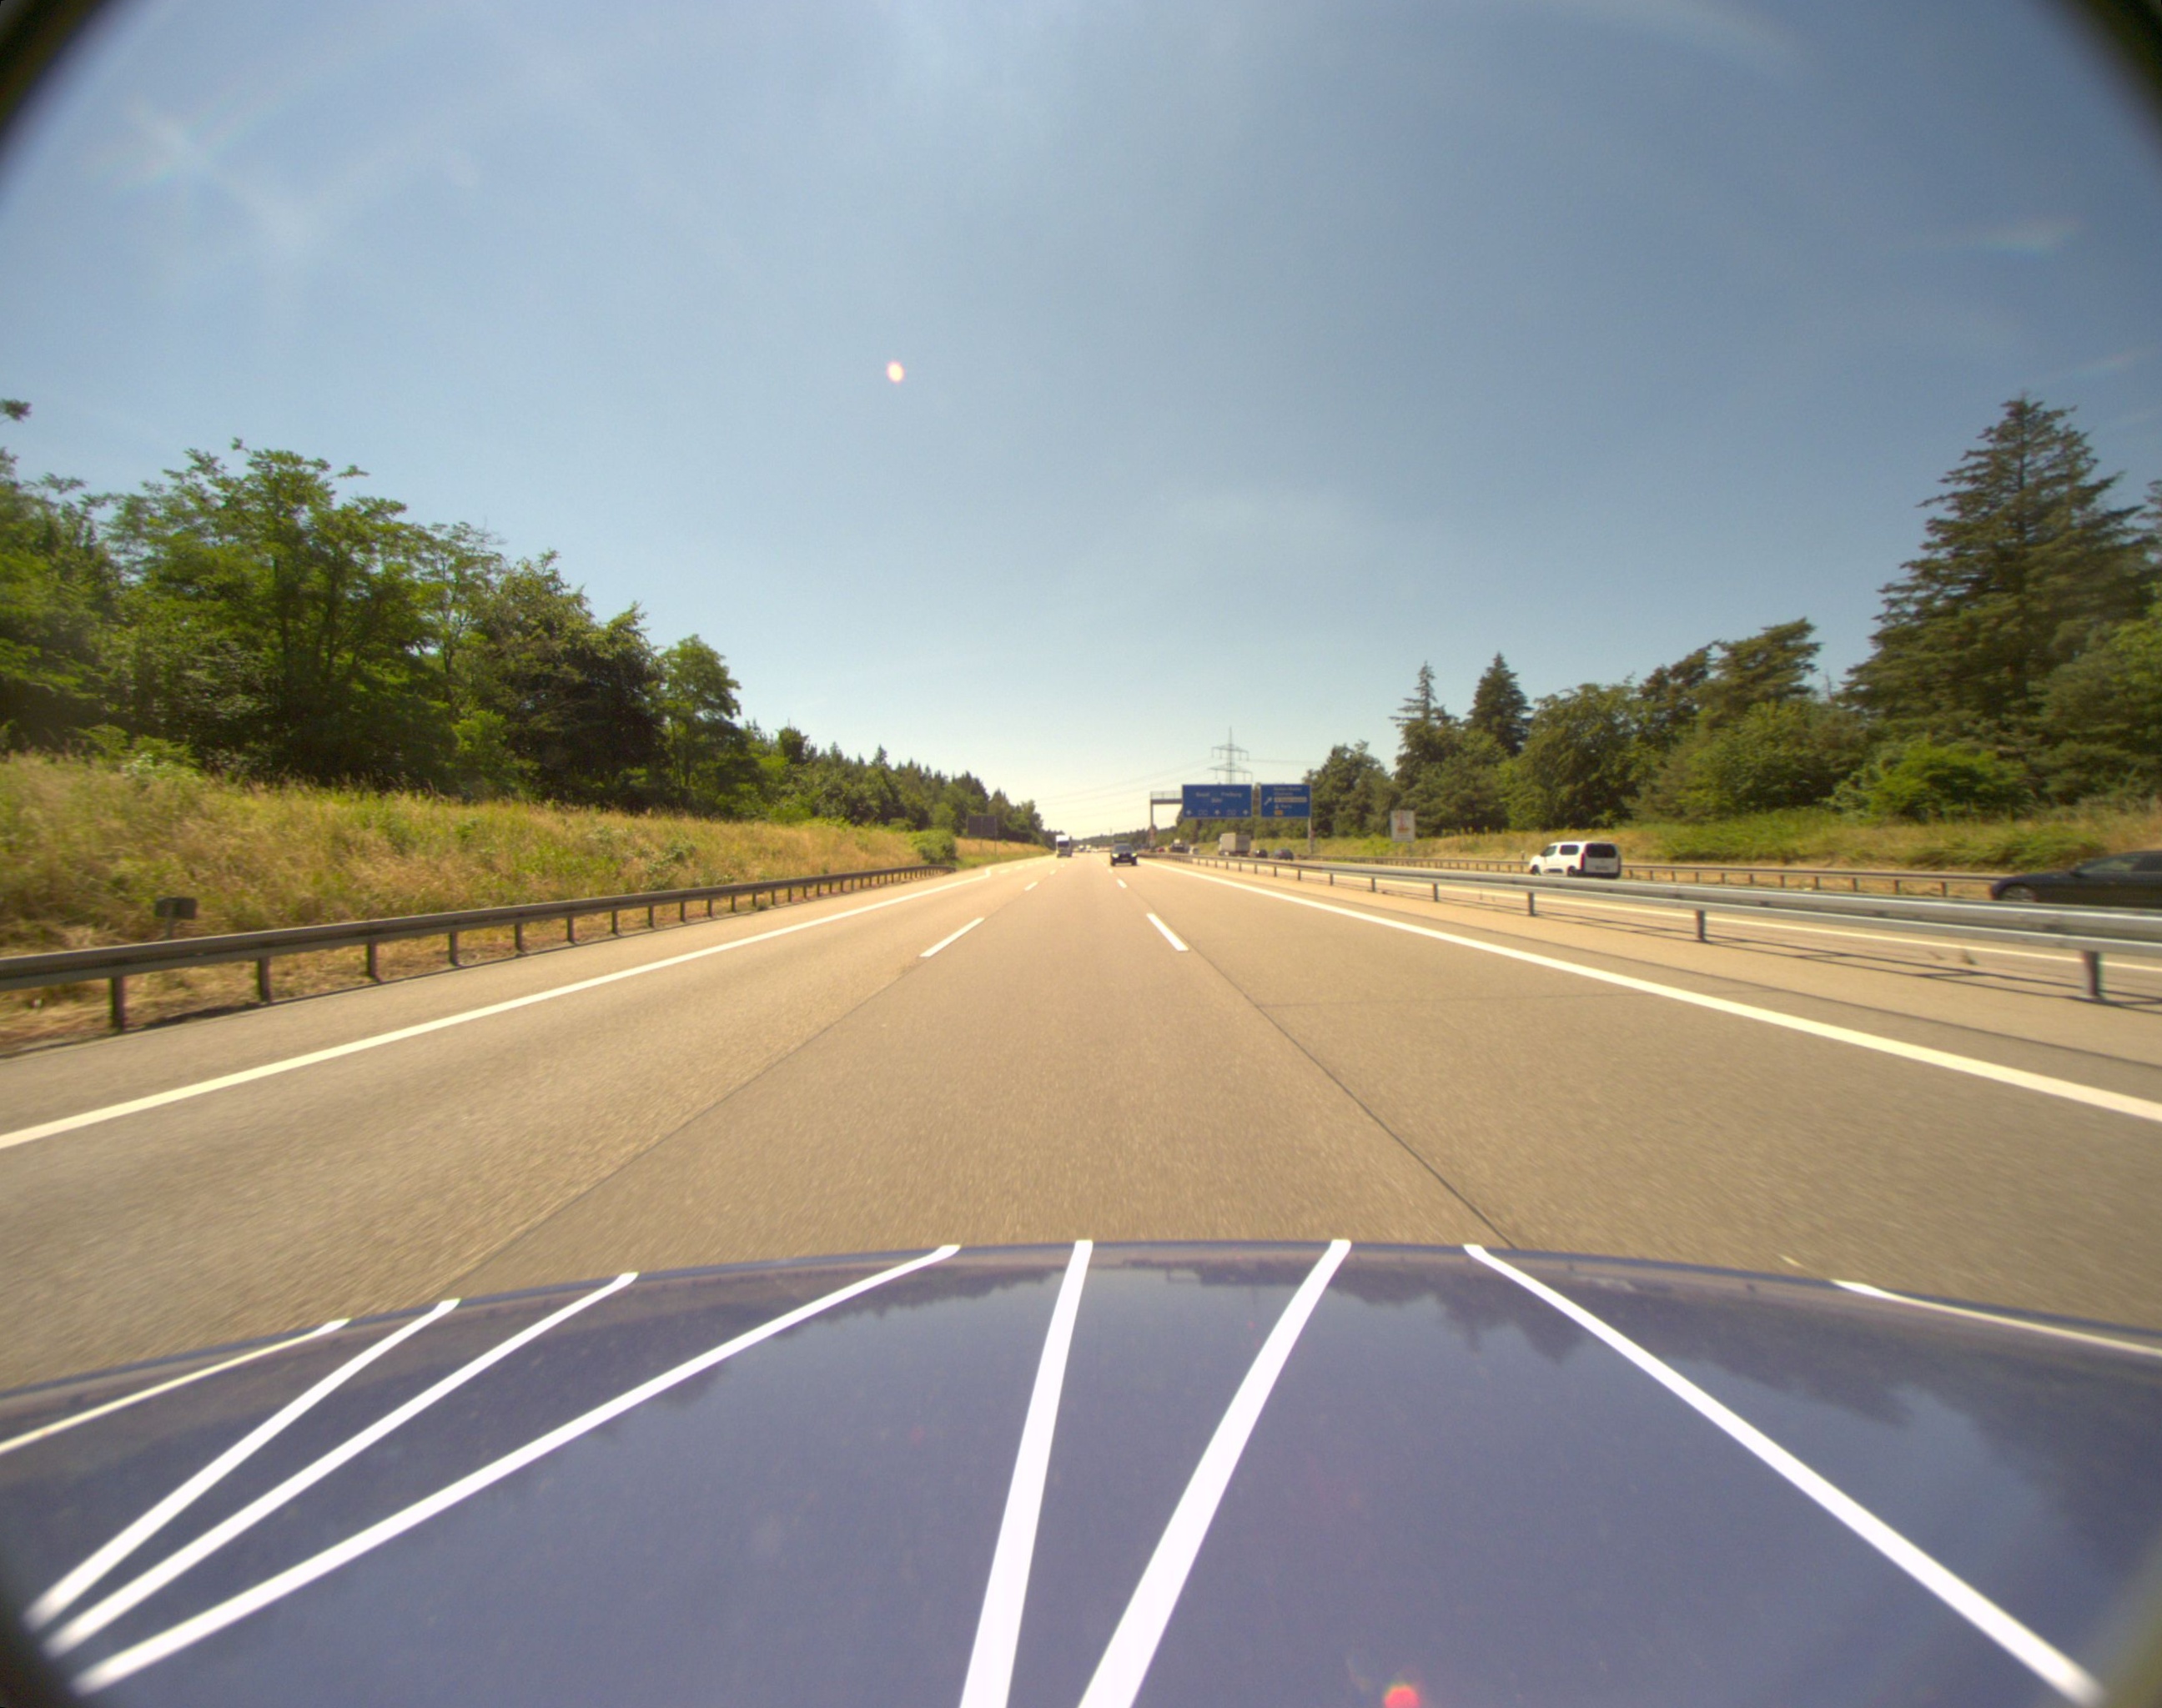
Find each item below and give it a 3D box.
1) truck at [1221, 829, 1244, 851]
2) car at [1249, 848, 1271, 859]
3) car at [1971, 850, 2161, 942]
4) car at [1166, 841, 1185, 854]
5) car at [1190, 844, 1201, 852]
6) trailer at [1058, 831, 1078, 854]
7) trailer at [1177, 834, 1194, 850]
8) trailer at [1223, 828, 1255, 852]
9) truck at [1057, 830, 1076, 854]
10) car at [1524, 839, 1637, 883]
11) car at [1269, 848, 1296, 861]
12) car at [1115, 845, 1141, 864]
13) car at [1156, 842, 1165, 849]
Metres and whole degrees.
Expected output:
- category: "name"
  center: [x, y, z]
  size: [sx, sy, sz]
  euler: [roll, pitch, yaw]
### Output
- category: "truck"
  center: [27.578, -2.506, 138.571]
  size: [3.175, 3.908, 5.400]
  euler: [-2, 1, 3]
- category: "car"
  center: [25.804, -0.138, 109.664]
  size: [2.091, 1.455, 4.941]
  euler: [0, 1, 1]
- category: "car"
  center: [21.131, 0.801, 14.676]
  size: [1.998, 1.694, 4.978]
  euler: [1, 1, 1]
- category: "car"
  center: [14.162, -1.021, 114.002]
  size: [2.285, 1.929, 4.942]
  euler: [0, 1, 1]
- category: "car"
  center: [26.766, -1.461, 177.653]
  size: [1.998, 1.739, 4.990]
  euler: [-2, 1, 0]
- category: "trailer"
  center: [-2.342, -2.137, 143.122]
  size: [2.982, 4.118, 11.697]
  euler: [-1, 0, 2]
- category: "trailer"
  center: [28.184, -3.213, 205.713]
  size: [3.222, 4.019, 14.360]
  euler: [-2, 1, 2]
- category: "trailer"
  center: [27.276, -2.353, 131.802]
  size: [3.175, 3.908, 13.963]
  euler: [-2, 1, 3]
- category: "truck"
  center: [-2.580, -2.093, 137.579]
  size: [2.979, 4.118, 5.349]
  euler: [-1, 0, 3]
- category: "car"
  center: [22.220, 0.257, 34.088]
  size: [1.998, 1.817, 4.642]
  euler: [1, 1, 1]
- category: "car"
  center: [23.899, 0.040, 90.117]
  size: [1.931, 1.455, 4.942]
  euler: [0, 1, 1]
- category: "car"
  center: [3.723, 0.041, 60.764]
  size: [1.898, 1.417, 4.261]
  euler: [-2, 1, 1]
- category: "car"
  center: [19.418, -1.995, 186.143]
  size: [1.851, 1.601, 4.920]
  euler: [-2, 1, 1]
